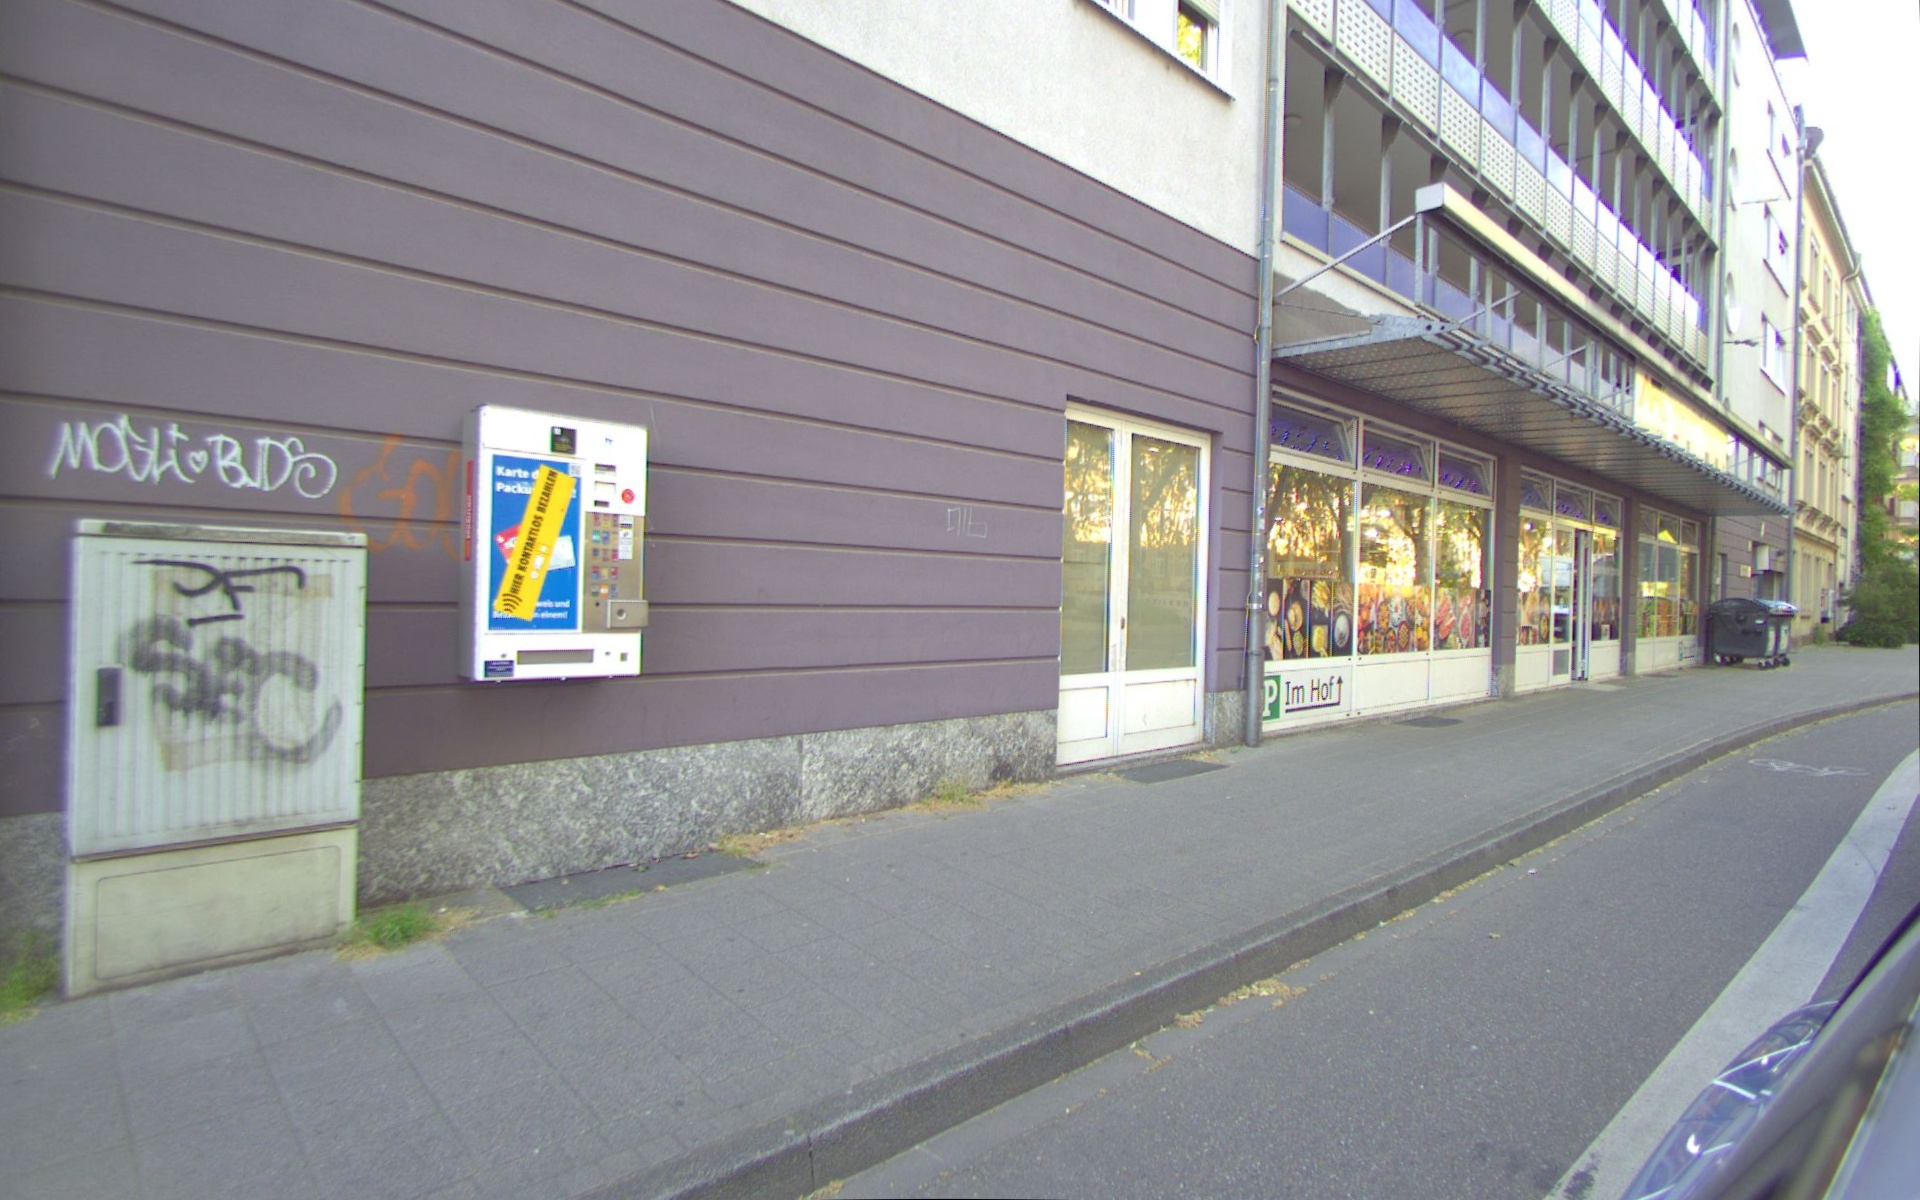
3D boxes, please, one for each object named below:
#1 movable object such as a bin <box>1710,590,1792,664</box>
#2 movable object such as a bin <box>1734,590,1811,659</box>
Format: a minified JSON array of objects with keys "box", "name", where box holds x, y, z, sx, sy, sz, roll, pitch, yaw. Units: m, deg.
[{"box":[16.271,0.538,20.823,0.923,1.444,1.158,1,1,-40],"name":"movable object such as a bin"},{"box":[17.773,0.518,22.147,0.923,1.444,1.158,1,1,-40],"name":"movable object such as a bin"}]
